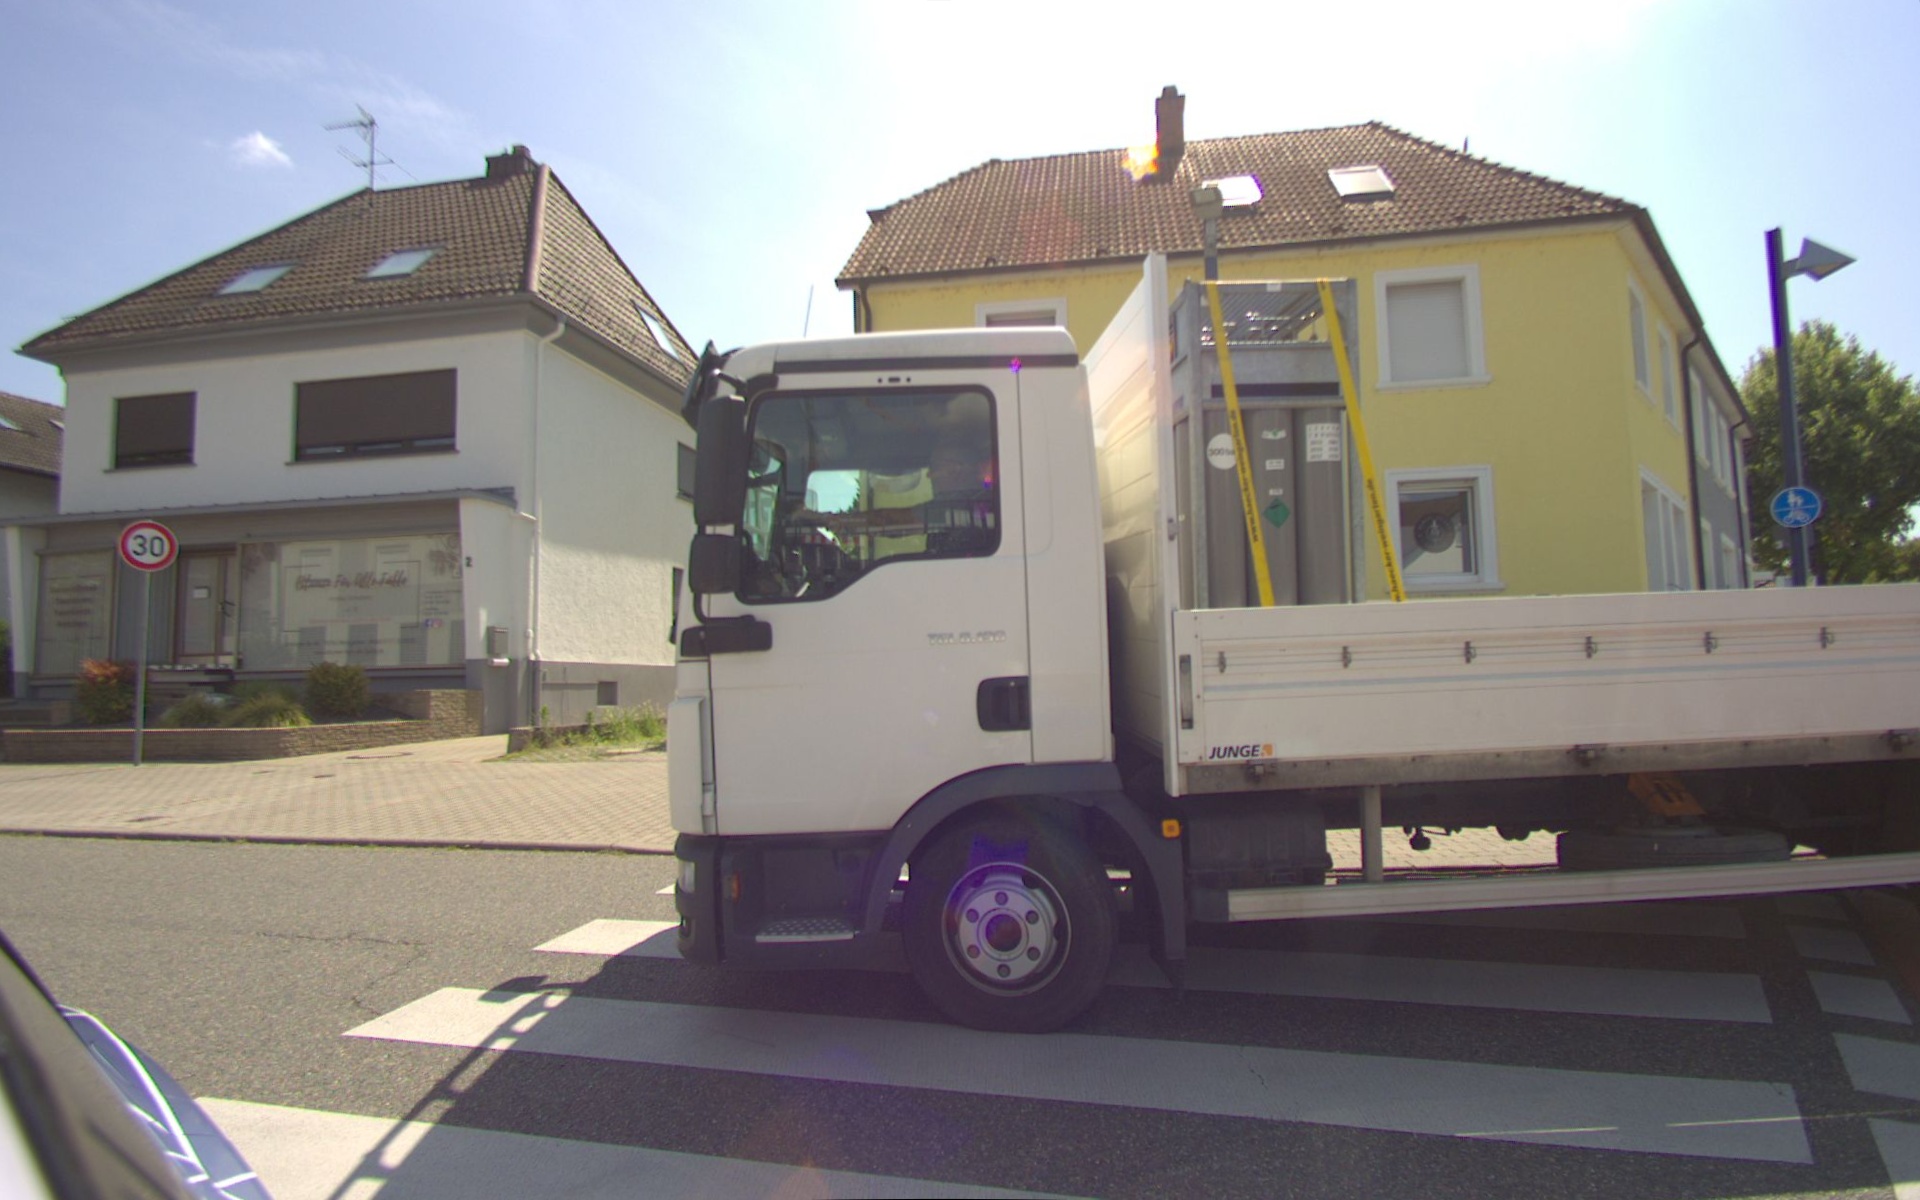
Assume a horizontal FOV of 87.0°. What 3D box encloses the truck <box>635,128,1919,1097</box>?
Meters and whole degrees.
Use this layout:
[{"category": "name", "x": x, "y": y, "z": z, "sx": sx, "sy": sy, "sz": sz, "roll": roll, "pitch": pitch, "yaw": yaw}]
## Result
[{"category": "truck", "x": 2.887, "y": -0.026, "z": 4.645, "sx": 7.949, "sy": 2.899, "sz": 2.621, "roll": -1, "pitch": -2, "yaw": -5}]
